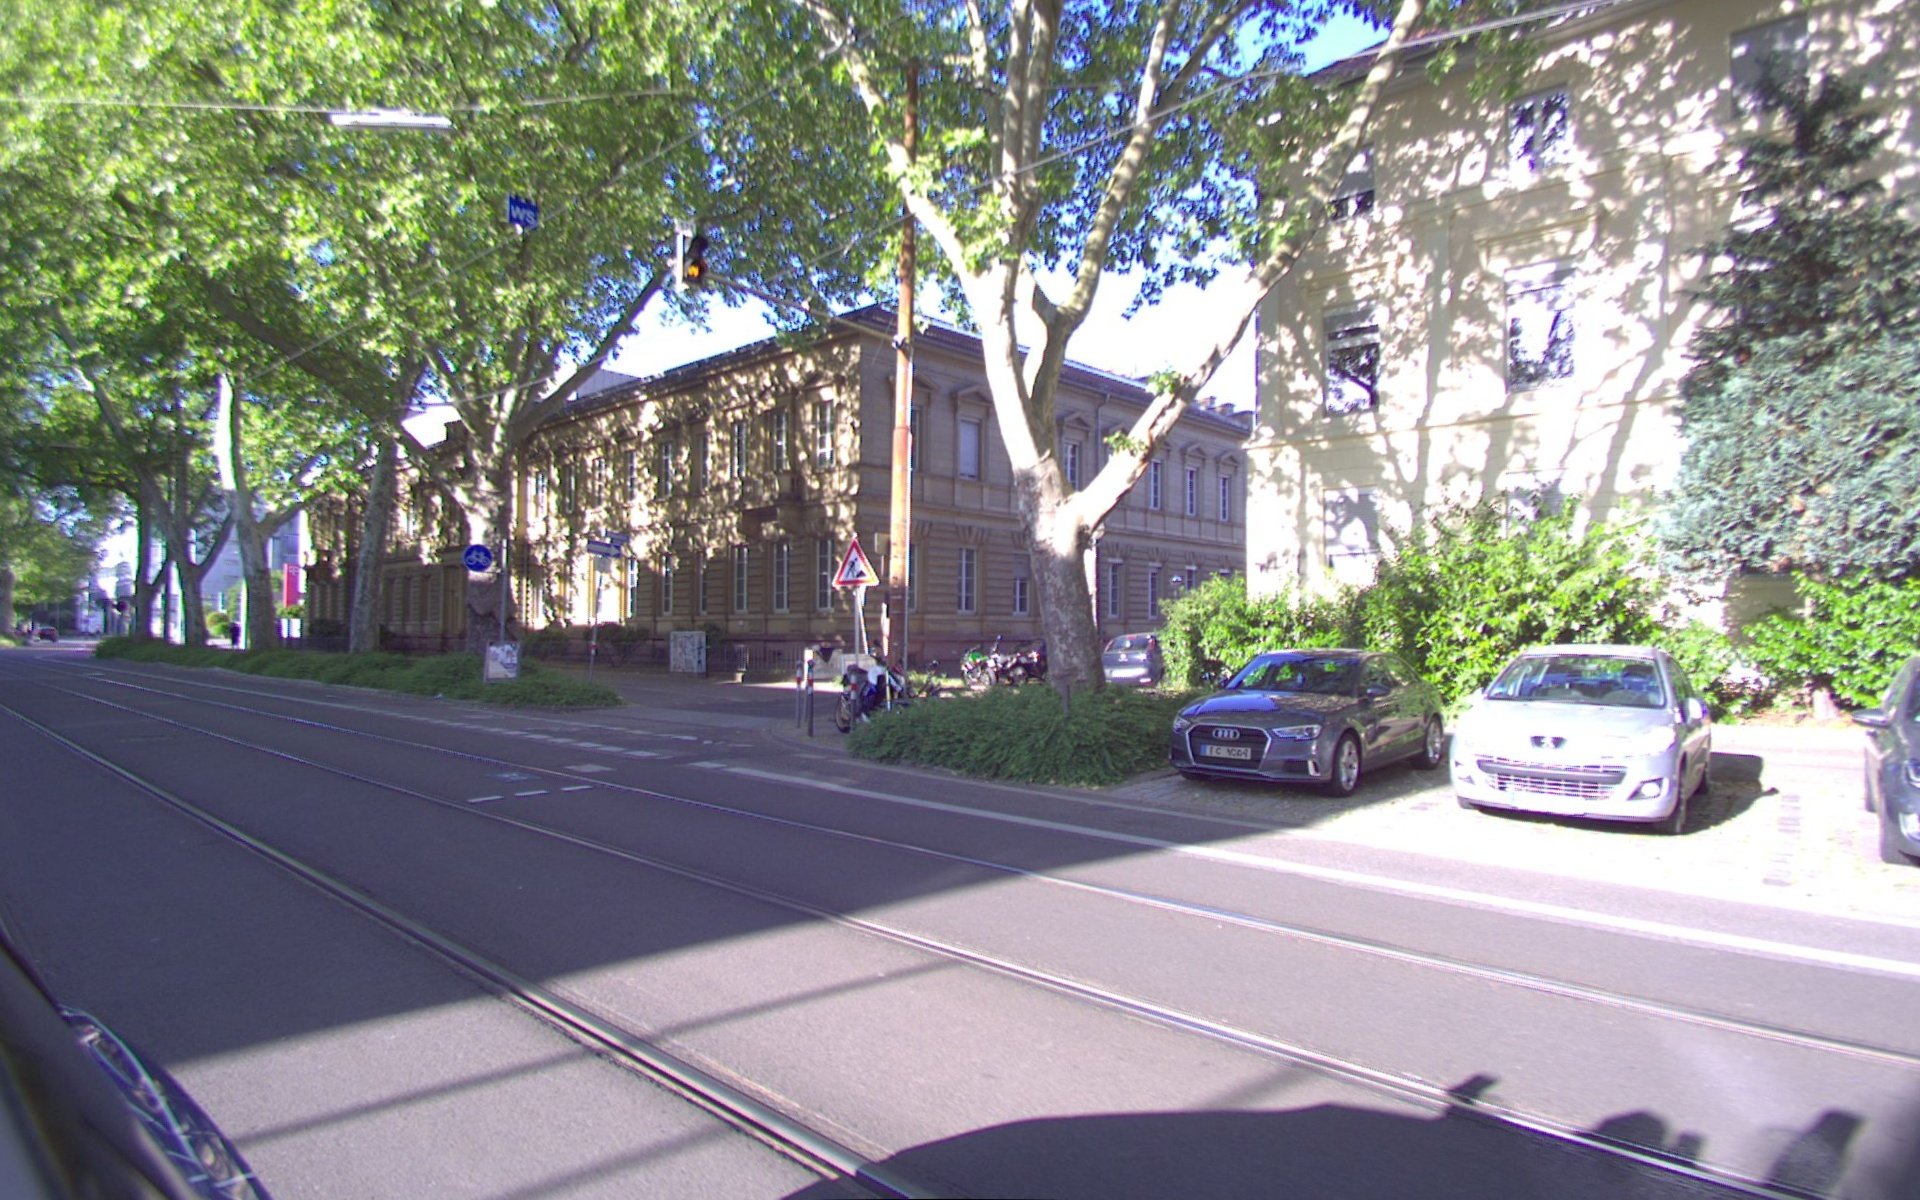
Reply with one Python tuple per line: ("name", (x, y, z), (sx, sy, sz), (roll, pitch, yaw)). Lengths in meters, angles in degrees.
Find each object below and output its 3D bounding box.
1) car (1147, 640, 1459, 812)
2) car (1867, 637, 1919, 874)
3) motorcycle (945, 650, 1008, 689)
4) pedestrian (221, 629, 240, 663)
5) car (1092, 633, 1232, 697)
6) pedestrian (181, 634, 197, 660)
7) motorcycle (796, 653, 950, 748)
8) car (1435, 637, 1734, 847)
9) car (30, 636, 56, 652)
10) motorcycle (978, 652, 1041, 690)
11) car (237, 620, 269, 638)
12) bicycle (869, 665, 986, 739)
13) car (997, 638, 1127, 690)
("car", (3.828, 1.181, 10.905), (1.847, 1.342, 3.879), (-1, 0, 41))
("car", (7.886, 1.022, 7.368), (1.805, 1.473, 3.879), (-1, -2, 41))
("motorcycle", (0.457, 1.944, 28.500), (0.710, 0.984, 1.959), (0, 0, -37))
("pedestrian", (-41.311, 2.605, 57.311), (0.837, 1.863, 0.712), (-1, -2, 40))
("car", (4.984, 1.577, 24.670), (1.693, 1.429, 3.737), (-5, -5, 41))
("pedestrian", (-51.627, 3.142, 67.753), (0.660, 1.710, 0.665), (-1, -2, 33))
("motorcycle", (-1.256, 1.335, 14.017), (0.873, 1.156, 2.393), (1, -2, -41))
("car", (5.925, 1.100, 9.390), (1.799, 1.464, 3.881), (-1, -2, 40))
("car", (-99.035, 4.767, 109.289), (1.845, 1.642, 4.563), (2, -3, -45))
("motorcycle", (1.412, 2.026, 29.302), (0.710, 0.984, 1.959), (0, 0, -37))
("car", (-73.776, 3.042, 105.607), (3.998, 1.831, 1.828), (-1, -2, 41))
("bicycle", (-0.511, 1.460, 14.799), (0.534, 0.948, 2.036), (1, -2, -41))
("car", (3.168, 1.902, 31.078), (3.872, 1.342, 1.850), (-1, 0, -41))
